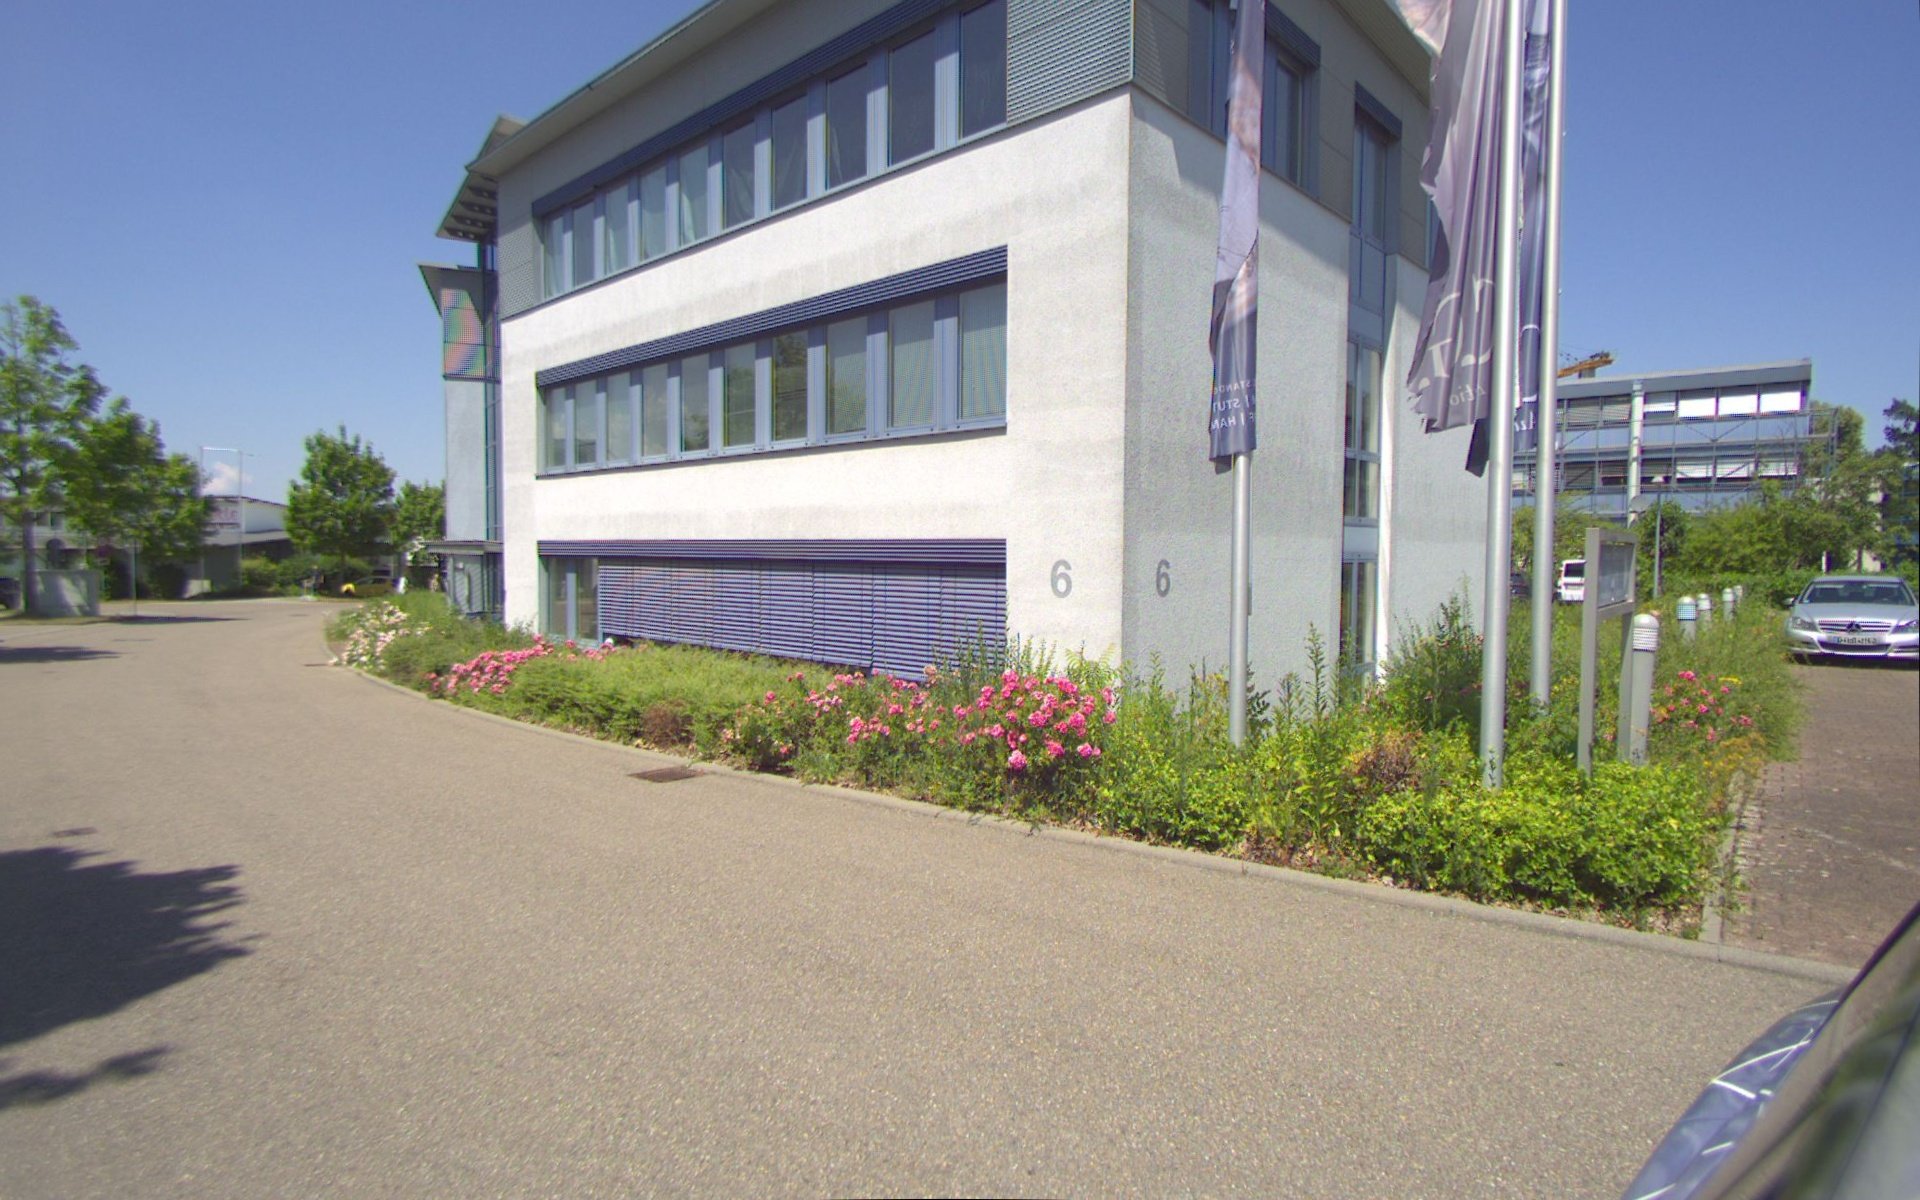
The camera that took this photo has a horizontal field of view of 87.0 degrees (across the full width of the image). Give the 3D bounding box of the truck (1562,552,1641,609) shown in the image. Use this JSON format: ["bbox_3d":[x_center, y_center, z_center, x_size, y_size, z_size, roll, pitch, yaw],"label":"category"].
[{"bbox_3d":[22.757,-0.722,35.859,1.990,1.917,3.945,1,2,38],"label":"truck"}]

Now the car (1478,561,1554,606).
[{"bbox_3d":[21.037,-0.659,38.226,1.781,1.565,3.943,1,2,40],"label":"car"}]

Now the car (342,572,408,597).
[{"bbox_3d":[-35.730,-0.941,61.855,3.157,1.460,1.588,0,1,4],"label":"car"}]

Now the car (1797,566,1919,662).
[{"bbox_3d":[15.182,0.154,16.824,1.707,1.408,3.752,2,3,43],"label":"car"}]
